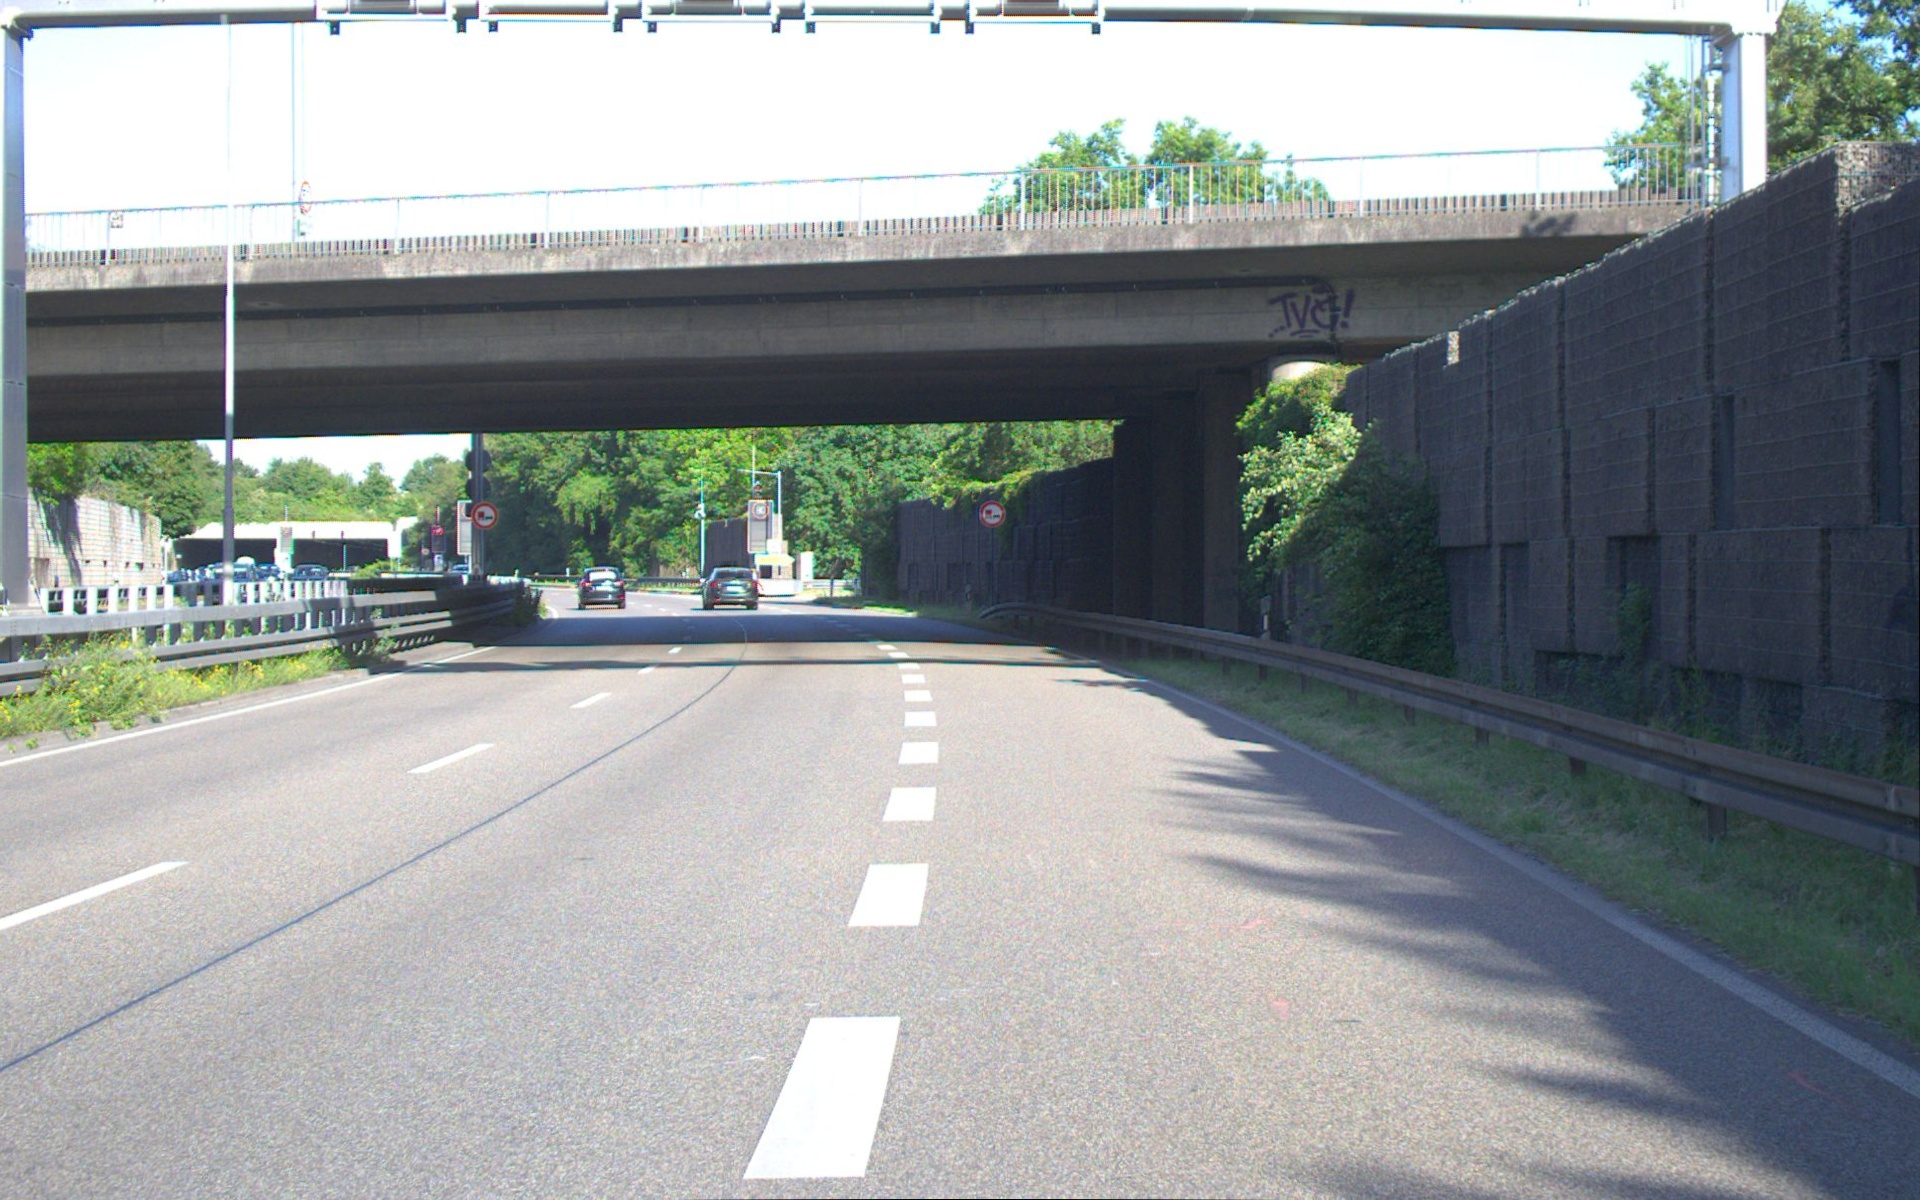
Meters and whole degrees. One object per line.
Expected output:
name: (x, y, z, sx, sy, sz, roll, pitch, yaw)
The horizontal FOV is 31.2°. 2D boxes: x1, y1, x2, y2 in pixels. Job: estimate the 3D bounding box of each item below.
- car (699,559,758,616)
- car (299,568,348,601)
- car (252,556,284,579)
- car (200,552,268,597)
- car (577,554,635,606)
car: (-8.107, -0.463, 120.469, 1.993, 1.919, 4.001, 1, 1, -3)
car: (-32.519, -0.804, 175.620, 1.993, 1.590, 4.428, 0, 1, -4)
car: (-49.981, -2.350, 248.351, 1.897, 1.568, 4.809, 2, 1, -8)
car: (-28.721, -1.030, 136.078, 1.993, 1.700, 4.562, -1, 1, -4)
car: (-13.321, -0.764, 129.521, 1.993, 1.919, 4.001, 1, 1, -3)
